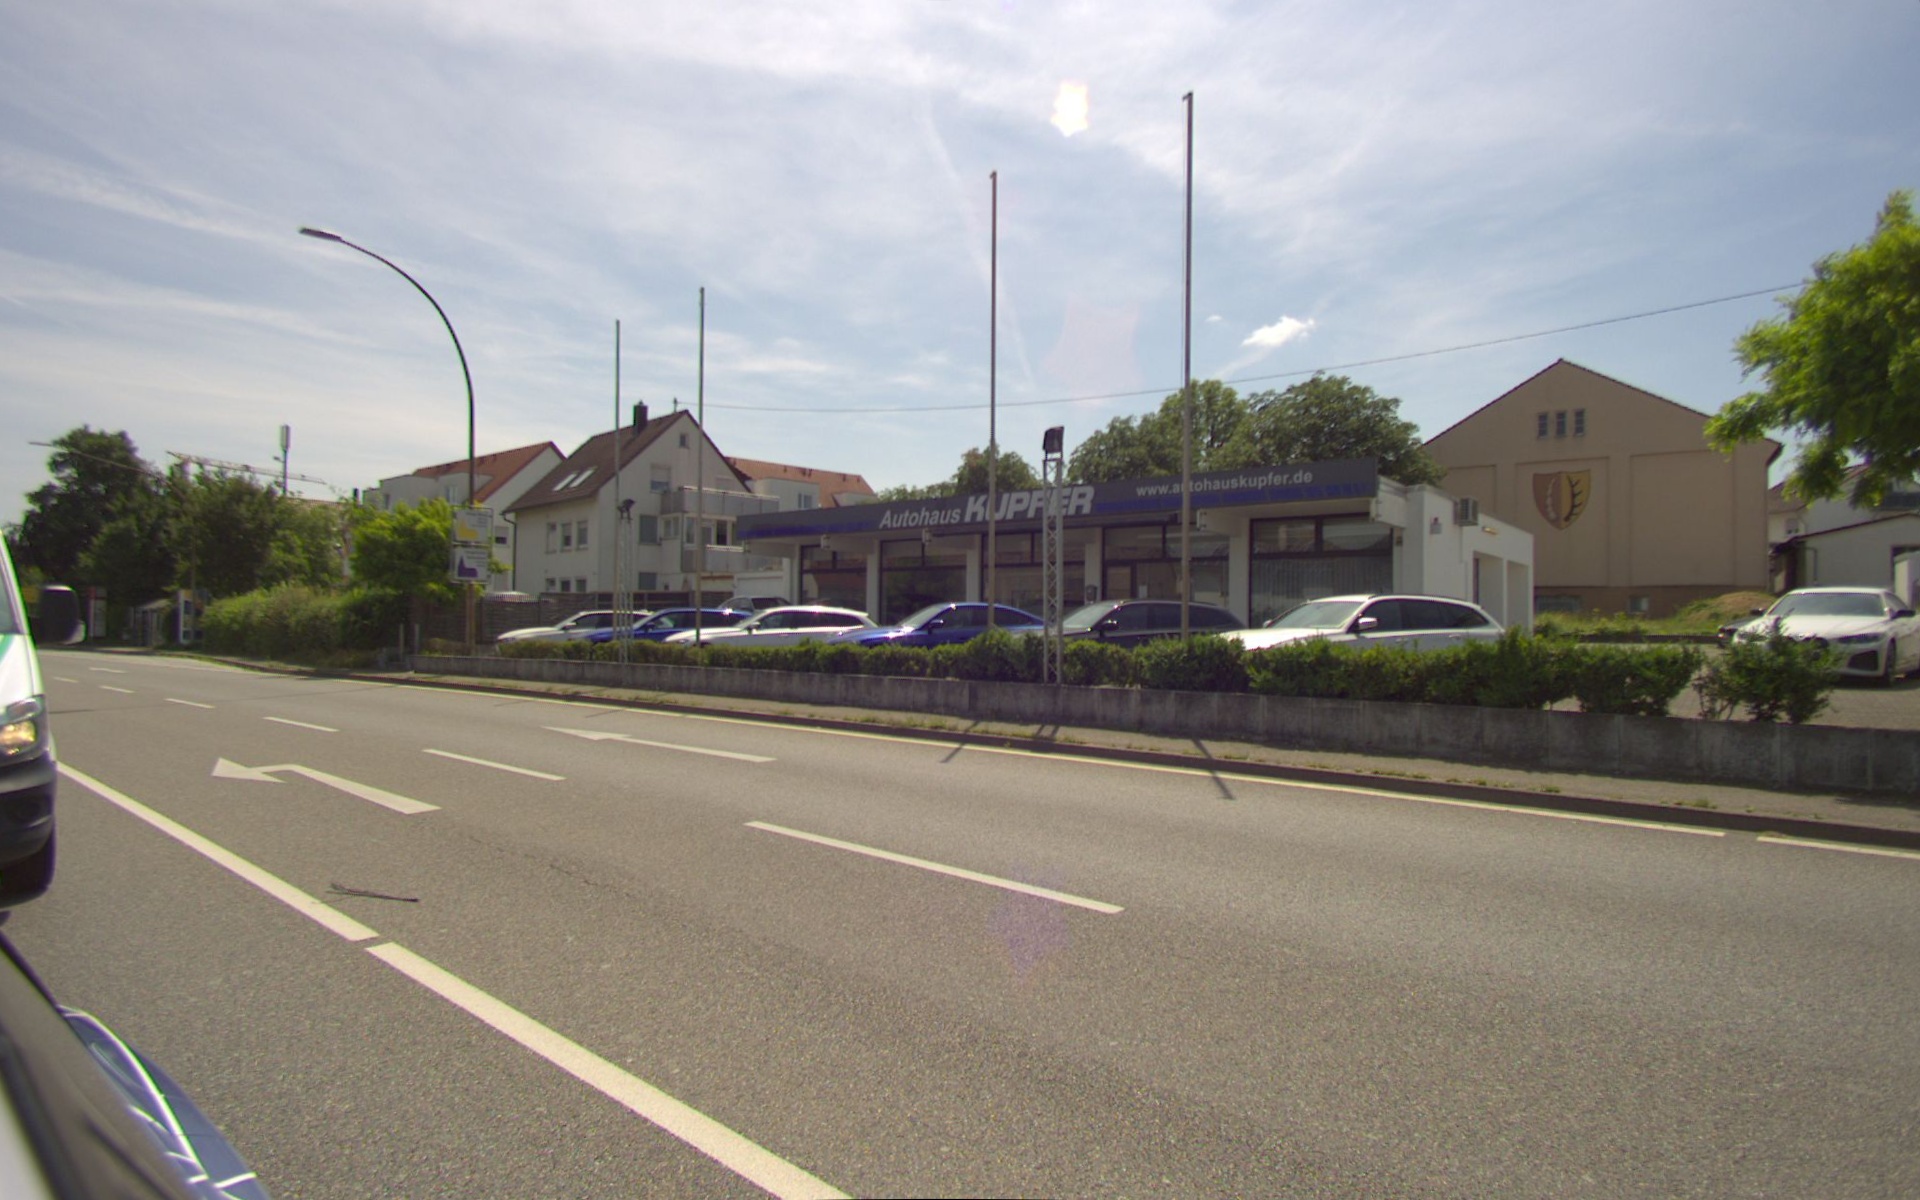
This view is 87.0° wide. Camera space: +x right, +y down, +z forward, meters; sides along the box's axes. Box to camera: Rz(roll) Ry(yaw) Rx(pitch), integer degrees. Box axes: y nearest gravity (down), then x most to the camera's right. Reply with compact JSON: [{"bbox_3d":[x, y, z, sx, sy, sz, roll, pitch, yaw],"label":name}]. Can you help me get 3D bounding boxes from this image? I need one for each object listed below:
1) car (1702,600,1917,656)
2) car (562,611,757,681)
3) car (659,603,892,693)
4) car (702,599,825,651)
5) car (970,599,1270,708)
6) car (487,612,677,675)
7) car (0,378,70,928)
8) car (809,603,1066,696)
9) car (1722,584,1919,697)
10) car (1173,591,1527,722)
[{"bbox_3d":[21.913,0.706,26.215,3.946,1.231,1.791,-2,0,2],"label":"car"},{"bbox_3d":[-7.104,1.032,23.938,4.267,1.458,1.863,-1,0,-21],"label":"car"},{"bbox_3d":[-3.849,0.922,21.009,4.438,1.458,1.863,-3,1,-20],"label":"car"},{"bbox_3d":[-6.222,0.762,31.685,1.781,1.475,4.589,-1,0,-40],"label":"car"},{"bbox_3d":[2.502,0.738,15.800,4.267,1.458,1.905,-1,0,-25],"label":"car"},{"bbox_3d":[-9.876,1.093,26.626,4.501,1.458,1.863,-1,0,-21],"label":"car"},{"bbox_3d":[-7.088,0.294,6.012,5.745,2.548,1.914,-1,-1,40],"label":"car"},{"bbox_3d":[-0.401,0.828,18.384,4.267,1.458,1.863,-1,0,-24],"label":"car"},{"bbox_3d":[13.581,0.537,15.616,3.934,1.521,1.839,-1,-1,-36],"label":"car"},{"bbox_3d":[5.107,0.632,13.228,4.267,1.458,1.863,-1,0,-25],"label":"car"}]
